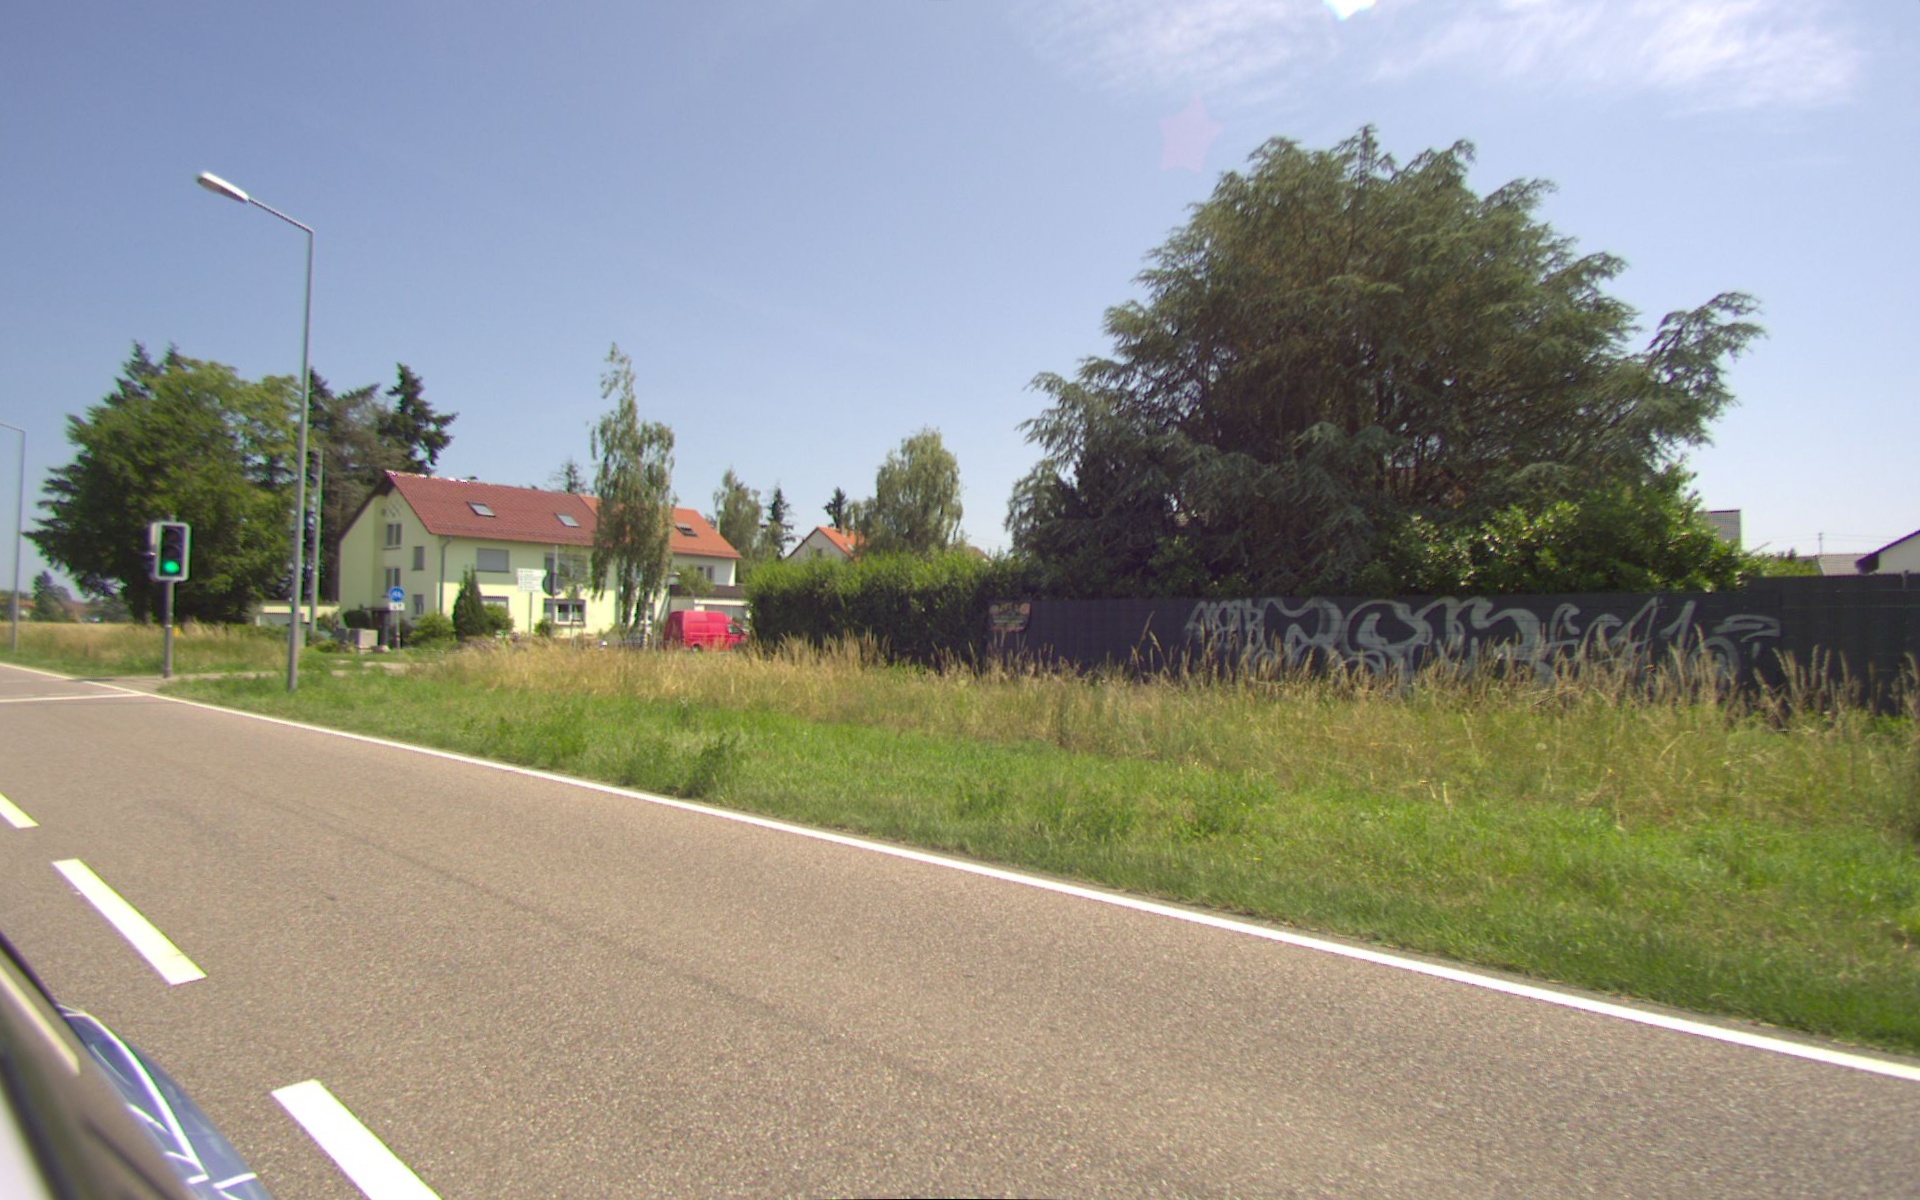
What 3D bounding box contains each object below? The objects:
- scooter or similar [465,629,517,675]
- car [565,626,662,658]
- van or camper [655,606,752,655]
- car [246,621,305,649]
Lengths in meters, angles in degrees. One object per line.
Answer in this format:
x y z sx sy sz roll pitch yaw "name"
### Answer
-11.867 1.299 25.618 0.646 1.136 1.010 -1 -2 30 "scooter or similar"
-16.315 1.935 47.825 1.996 1.364 3.952 -1 -1 35 "car"
-13.222 1.533 52.451 1.996 2.406 4.712 -1 -1 35 "van or camper"
-39.600 1.978 58.526 4.182 1.503 1.689 -1 -1 39 "car"
